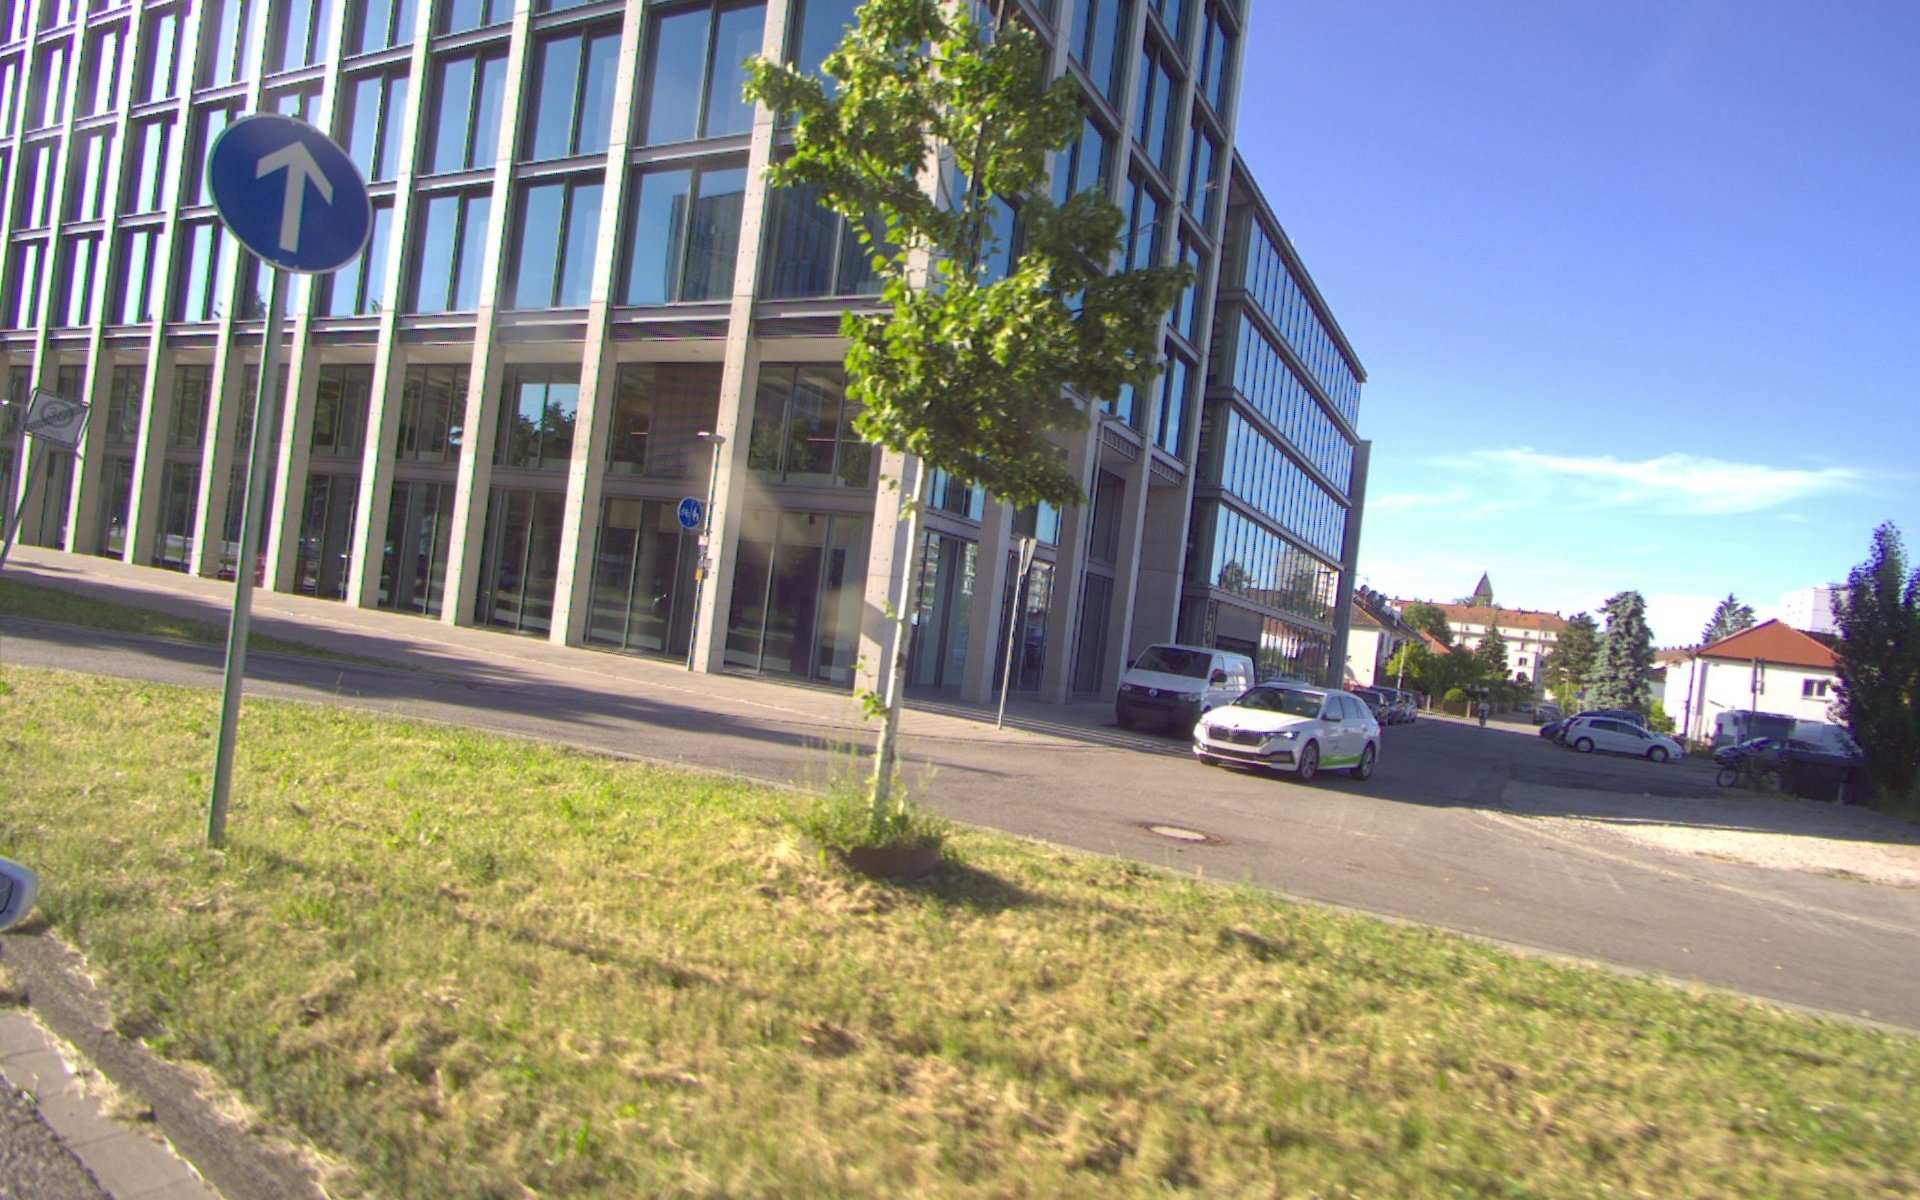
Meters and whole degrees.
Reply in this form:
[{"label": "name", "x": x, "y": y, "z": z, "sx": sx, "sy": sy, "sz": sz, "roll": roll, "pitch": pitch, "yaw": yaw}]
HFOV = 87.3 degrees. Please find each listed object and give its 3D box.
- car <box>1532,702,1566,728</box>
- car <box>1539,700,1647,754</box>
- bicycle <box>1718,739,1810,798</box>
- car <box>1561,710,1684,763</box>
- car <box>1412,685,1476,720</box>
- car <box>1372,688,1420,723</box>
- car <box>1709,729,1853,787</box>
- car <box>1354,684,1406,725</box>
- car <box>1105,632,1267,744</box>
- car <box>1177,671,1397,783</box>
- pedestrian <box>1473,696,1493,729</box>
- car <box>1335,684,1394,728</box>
[{"label": "car", "x": 43.918, "y": 8.566, "z": 75.096, "sx": 1.824, "sy": 1.659, "sz": 3.822, "roll": 5, "pitch": -3, "yaw": 27}, {"label": "car", "x": 29.095, "y": 5.810, "z": 46.392, "sx": 3.931, "sy": 1.871, "sz": 1.675, "roll": 7, "pitch": -1, "yaw": 28}, {"label": "bicycle", "x": 20.952, "y": 4.373, "z": 26.252, "sx": 1.718, "sy": 1.205, "sz": 0.584, "roll": 7, "pitch": -1, "yaw": 32}, {"label": "car", "x": 26.937, "y": 5.540, "z": 41.060, "sx": 3.931, "sy": 1.481, "sz": 1.675, "roll": 7, "pitch": -1, "yaw": 28}, {"label": "car", "x": 35.139, "y": 7.424, "z": 73.118, "sx": 3.928, "sy": 2.037, "sz": 2.000, "roll": 5, "pitch": -2, "yaw": 24}, {"label": "car", "x": 22.521, "y": 5.426, "z": 51.930, "sx": 1.719, "sy": 1.499, "sz": 3.843, "roll": 7, "pitch": -2, "yaw": 30}, {"label": "car", "x": 31.564, "y": 6.046, "z": 38.820, "sx": 3.931, "sy": 1.484, "sz": 1.675, "roll": 7, "pitch": -1, "yaw": 28}, {"label": "car", "x": 19.912, "y": 4.955, "z": 47.624, "sx": 1.719, "sy": 1.679, "sz": 3.843, "roll": 5, "pitch": -3, "yaw": 30}, {"label": "car", "x": 5.204, "y": 1.988, "z": 22.557, "sx": 1.906, "sy": 2.005, "sz": 5.077, "roll": 7, "pitch": -2, "yaw": 31}, {"label": "car", "x": 5.540, "y": 2.118, "z": 16.664, "sx": 1.749, "sy": 1.409, "sz": 4.509, "roll": 5, "pitch": -3, "yaw": 41}, {"label": "pedestrian", "x": 31.171, "y": 6.701, "z": 59.969, "sx": 0.947, "sy": 1.852, "sz": 1.196, "roll": 5, "pitch": -2, "yaw": 28}, {"label": "car", "x": 17.151, "y": 4.469, "z": 42.530, "sx": 1.719, "sy": 1.570, "sz": 3.843, "roll": 5, "pitch": -3, "yaw": 30}]
